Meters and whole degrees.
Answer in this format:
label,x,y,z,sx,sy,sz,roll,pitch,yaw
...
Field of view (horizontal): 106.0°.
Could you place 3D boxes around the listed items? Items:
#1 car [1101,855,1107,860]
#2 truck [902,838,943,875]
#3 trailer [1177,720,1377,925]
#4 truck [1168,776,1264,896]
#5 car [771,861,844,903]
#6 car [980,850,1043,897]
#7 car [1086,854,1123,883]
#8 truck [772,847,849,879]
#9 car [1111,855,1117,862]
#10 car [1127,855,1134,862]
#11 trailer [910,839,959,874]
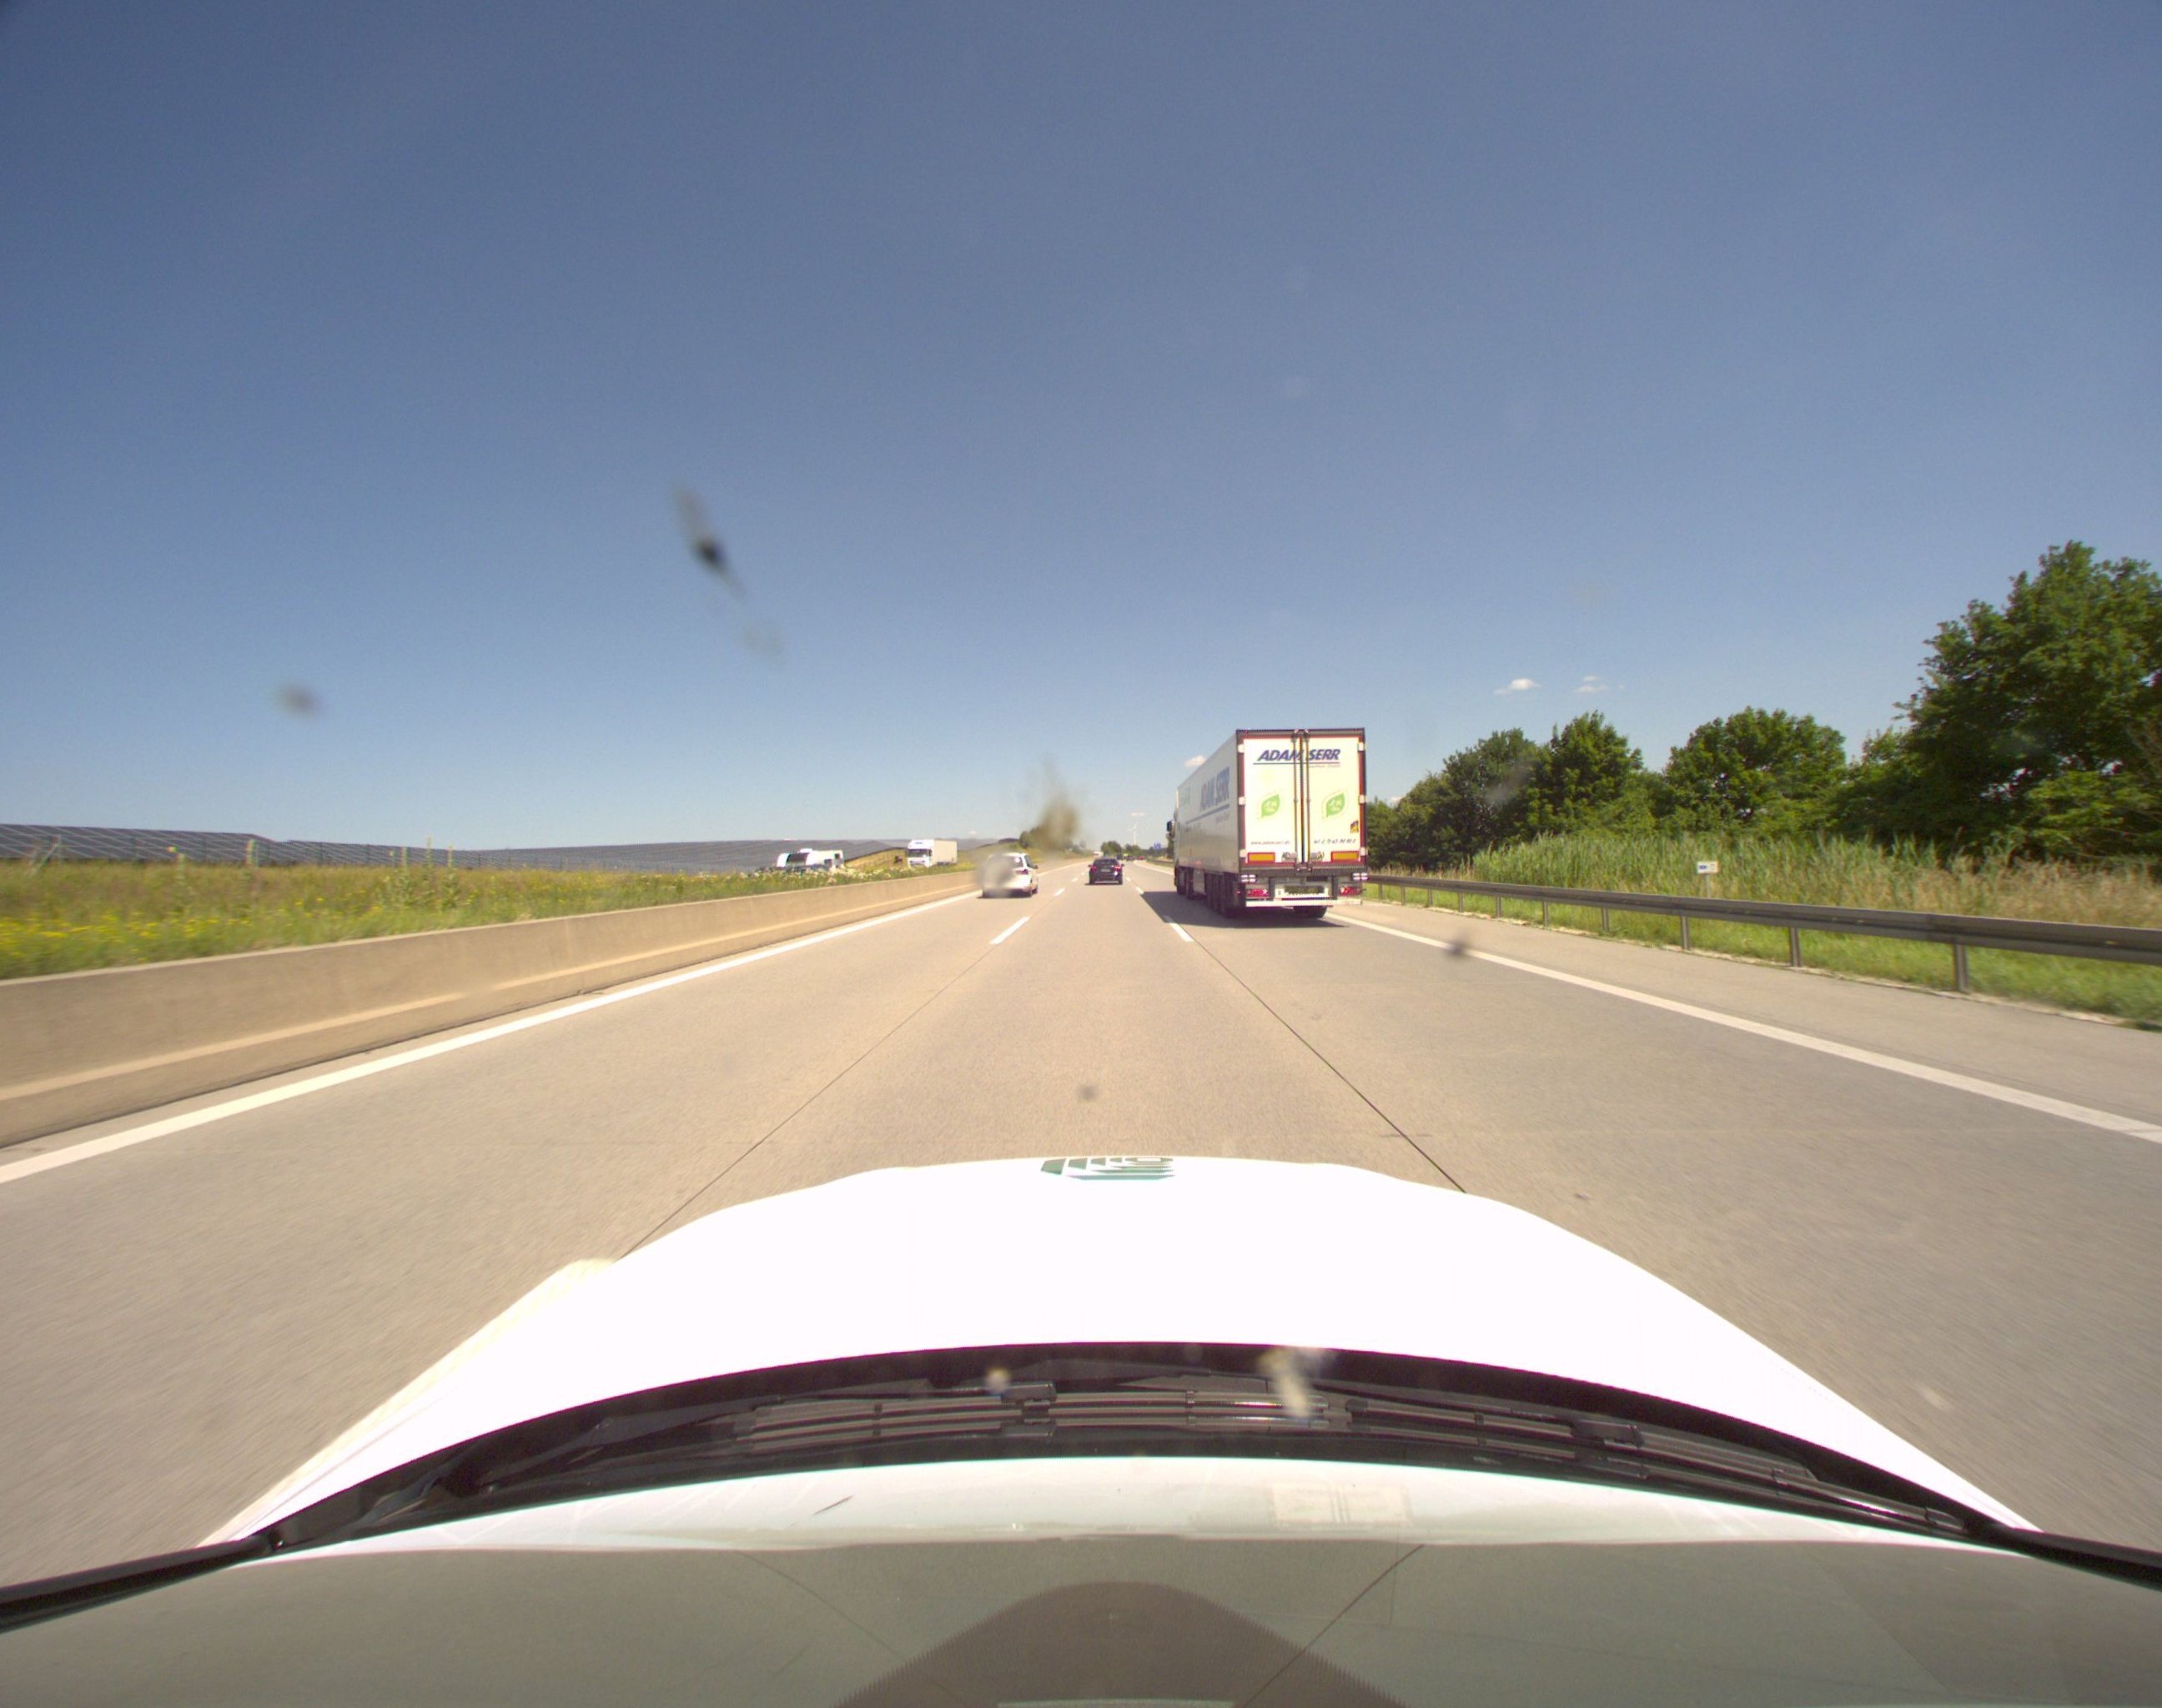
label,x,y,z,sx,sy,sz,roll,pitch,yaw
car,6.663,0.975,236.195,1.649,1.196,3.961,2,0,2
truck,-17.981,0.289,93.069,3.079,4.004,7.257,0,-1,2
trailer,4.633,-0.615,22.481,2.842,4.042,12.719,0,0,2
truck,4.917,-0.607,30.688,2.801,4.088,5.800,0,0,2
car,-11.796,1.156,35.402,1.819,1.728,3.743,0,-1,2
car,-2.673,0.748,32.830,1.838,1.708,6.038,0,-1,2
car,1.227,0.748,44.097,1.904,1.492,4.191,0,0,0
truck,-18.349,0.593,55.729,2.507,2.014,7.632,0,-1,2
car,9.784,1.228,239.726,1.820,1.937,3.811,-1,0,2
car,13.065,1.107,215.613,1.819,1.907,4.003,-1,0,3
trailer,-17.782,0.337,99.853,3.079,4.004,14.145,0,-1,2
